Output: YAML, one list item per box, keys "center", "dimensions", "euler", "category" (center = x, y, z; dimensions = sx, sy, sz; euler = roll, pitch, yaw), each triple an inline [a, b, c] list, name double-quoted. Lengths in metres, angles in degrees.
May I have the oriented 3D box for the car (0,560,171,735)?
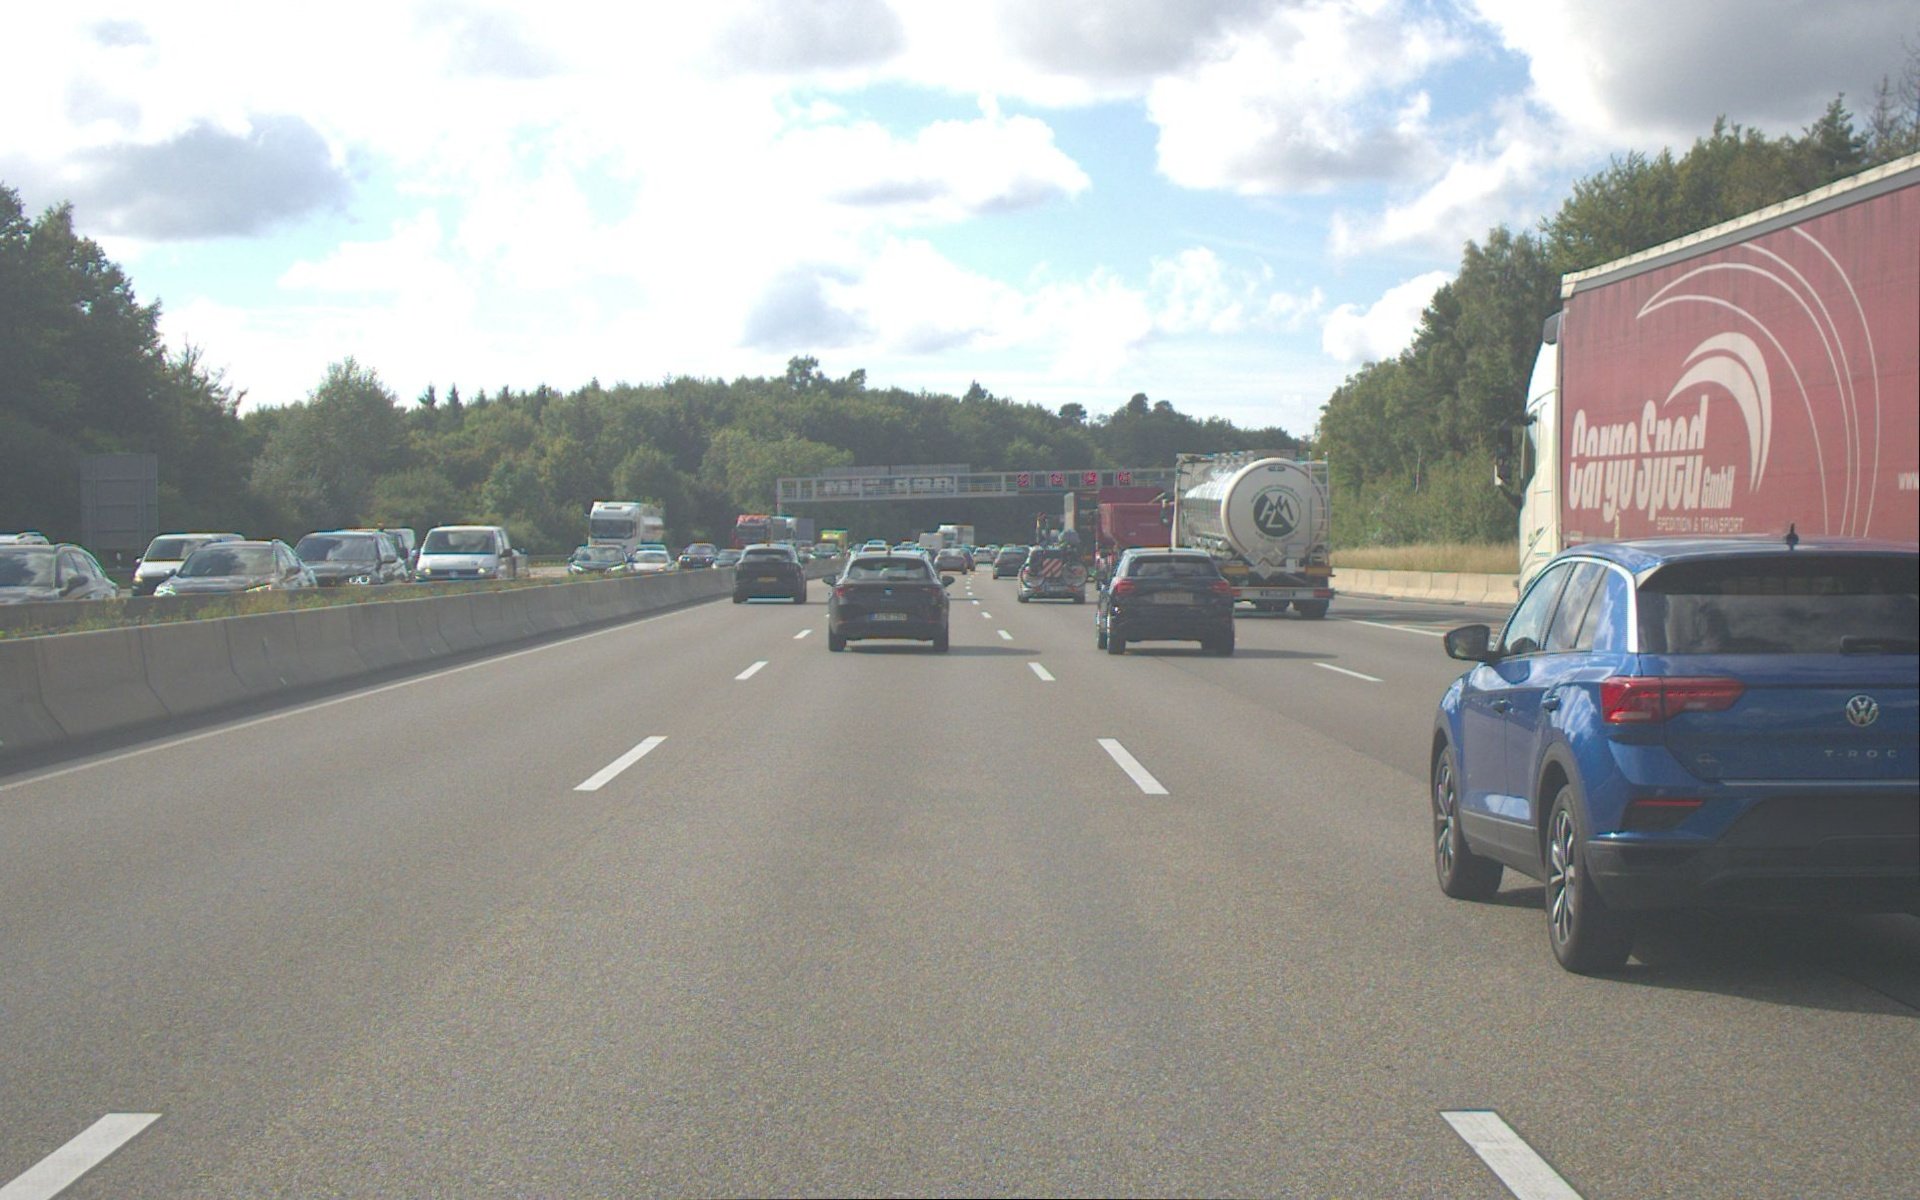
- center: [-10.530, 0.526, 38.935]
  dimensions: [1.993, 1.858, 4.550]
  euler: [1, -1, 2]
  category: "car"

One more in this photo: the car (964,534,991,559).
- center: [1.116, -3.437, 220.116]
  dimensions: [1.675, 1.587, 3.628]
  euler: [-1, 1, 1]
  category: "car"

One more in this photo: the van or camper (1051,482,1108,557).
- center: [5.283, -3.553, 153.009]
  dimensions: [2.351, 3.133, 5.710]
  euler: [1, -1, 1]
  category: "van or camper"

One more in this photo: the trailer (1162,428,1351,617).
- center: [6.645, -1.614, 78.945]
  dimensions: [3.036, 4.002, 12.245]
  euler: [0, 0, -1]
  category: "trailer"

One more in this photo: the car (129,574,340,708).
- center: [-10.583, 0.606, 50.470]
  dimensions: [1.993, 1.858, 4.550]
  euler: [1, -1, 2]
  category: "car"

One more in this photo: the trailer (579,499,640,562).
- center: [-18.305, -3.575, 179.691]
  dimensions: [2.284, 3.013, 7.605]
  euler: [1, -1, 1]
  category: "trailer"

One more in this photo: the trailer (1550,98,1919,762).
- center: [7.255, -0.949, 25.810]
  dimensions: [3.038, 4.021, 13.890]
  euler: [1, -1, -1]
  category: "trailer"

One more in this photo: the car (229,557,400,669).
- center: [-11.284, 0.252, 60.402]
  dimensions: [1.993, 1.858, 4.550]
  euler: [1, -1, 2]
  category: "car"

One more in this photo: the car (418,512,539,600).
- center: [-10.943, -0.981, 78.423]
  dimensions: [1.993, 1.858, 4.550]
  euler: [1, -1, 2]
  category: "car"

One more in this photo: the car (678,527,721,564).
- center: [-14.153, -2.973, 186.876]
  dimensions: [1.993, 2.007, 4.000]
  euler: [0, 1, 1]
  category: "car"

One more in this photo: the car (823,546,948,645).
- center: [-1.066, -0.066, 50.352]
  dimensions: [1.734, 1.360, 4.000]
  euler: [1, 0, -1]
  category: "car"

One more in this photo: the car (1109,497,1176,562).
- center: [6.145, -2.366, 116.175]
  dimensions: [1.993, 2.007, 4.000]
  euler: [1, -1, -1]
  category: "car"

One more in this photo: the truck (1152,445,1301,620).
- center: [6.529, -1.594, 85.176]
  dimensions: [3.045, 4.146, 7.127]
  euler: [0, 0, -1]
  category: "truck"

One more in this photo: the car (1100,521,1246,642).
- center: [3.018, -0.252, 49.357]
  dimensions: [1.799, 1.639, 4.000]
  euler: [1, 0, 0]
  category: "car"

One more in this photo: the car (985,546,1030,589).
- center: [2.316, -1.550, 167.137]
  dimensions: [1.993, 2.007, 4.000]
  euler: [1, 0, -1]
  category: "car"

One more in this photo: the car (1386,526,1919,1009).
- center: [2.995, 0.496, 13.537]
  dimensions: [1.924, 1.536, 4.646]
  euler: [0, 2, -2]
  category: "car"

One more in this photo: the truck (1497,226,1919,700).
- center: [7.181, -1.137, 32.673]
  dimensions: [3.080, 4.050, 6.069]
  euler: [1, -1, -1]
  category: "truck"

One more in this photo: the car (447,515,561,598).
- center: [-11.003, -1.027, 83.227]
  dimensions: [1.993, 1.858, 4.550]
  euler: [1, -1, 2]
  category: "car"

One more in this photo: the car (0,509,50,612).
- center: [-18.613, -0.734, 64.015]
  dimensions: [1.993, 1.858, 4.550]
  euler: [1, -1, 2]
  category: "car"

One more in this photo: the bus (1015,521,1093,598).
- center: [2.571, -1.096, 94.761]
  dimensions: [1.993, 2.007, 4.000]
  euler: [1, -1, 0]
  category: "bus"

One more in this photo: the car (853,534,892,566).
- center: [-5.056, -2.874, 199.201]
  dimensions: [2.154, 1.770, 4.000]
  euler: [1, 0, 0]
  category: "car"

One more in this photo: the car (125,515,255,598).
- center: [-18.522, -1.020, 82.889]
  dimensions: [1.993, 1.858, 4.550]
  euler: [1, -1, 2]
  category: "car"

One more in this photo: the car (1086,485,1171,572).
- center: [6.156, -2.577, 126.055]
  dimensions: [2.866, 2.981, 5.149]
  euler: [1, -1, 1]
  category: "car"

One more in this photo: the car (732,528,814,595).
- center: [-5.019, -1.050, 92.826]
  dimensions: [1.993, 1.770, 4.000]
  euler: [0, 1, 0]
  category: "car"

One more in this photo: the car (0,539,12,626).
- center: [-21.584, -0.418, 72.129]
  dimensions: [1.993, 1.858, 4.550]
  euler: [1, -1, 2]
  category: "car"

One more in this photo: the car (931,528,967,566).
- center: [-0.639, -3.027, 196.800]
  dimensions: [1.993, 2.007, 4.000]
  euler: [-1, -1, -1]
  category: "car"

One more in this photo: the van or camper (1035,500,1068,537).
- center: [6.291, -5.613, 236.536]
  dimensions: [2.083, 2.484, 4.225]
  euler: [0, 1, -1]
  category: "van or camper"

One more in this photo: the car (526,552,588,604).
- center: [-16.399, -0.884, 140.205]
  dimensions: [1.993, 2.007, 4.000]
  euler: [1, -1, 1]
  category: "car"
